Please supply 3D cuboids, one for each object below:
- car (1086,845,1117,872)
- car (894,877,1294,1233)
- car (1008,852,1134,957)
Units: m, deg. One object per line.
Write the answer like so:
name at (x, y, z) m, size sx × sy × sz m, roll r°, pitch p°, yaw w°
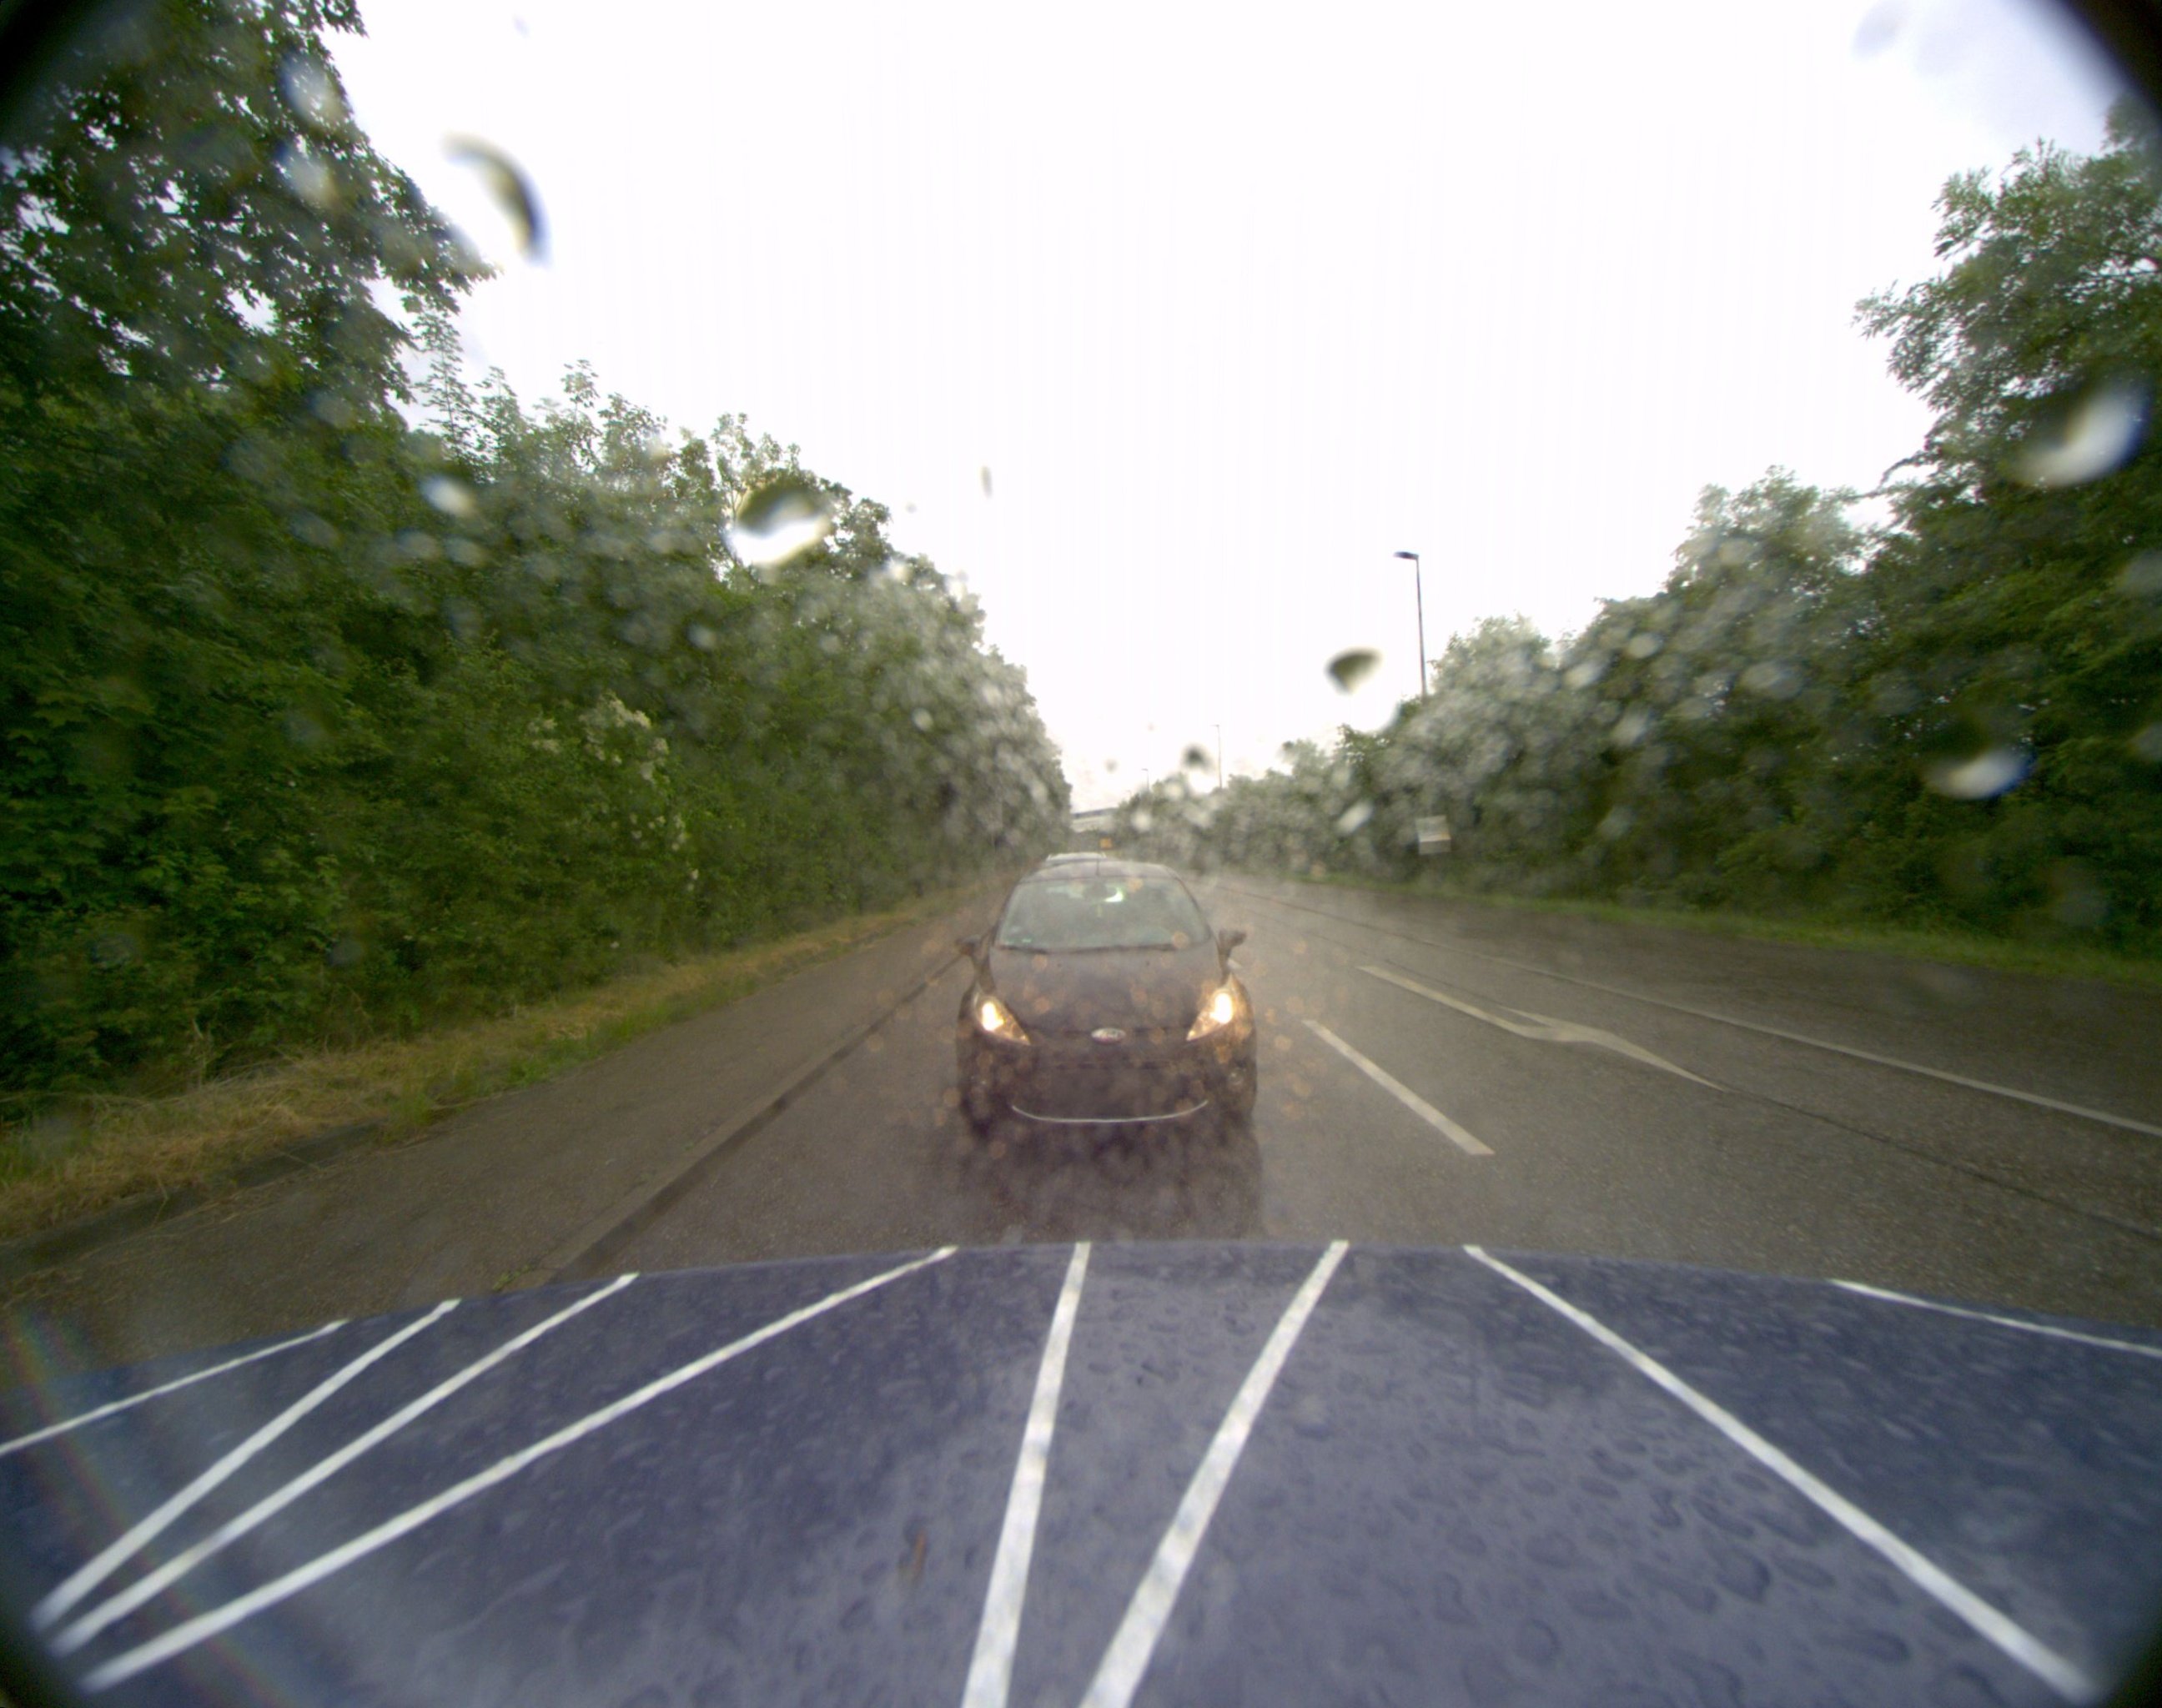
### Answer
car at (1.409, 0.328, 53.554) m, size 1.998 × 1.777 × 4.000 m, roll -2°, pitch 0°, yaw 0°
car at (0.090, 1.023, 5.755) m, size 1.839 × 1.404 × 4.342 m, roll -2°, pitch 1°, yaw 1°
car at (-0.142, 0.818, 14.399) m, size 1.998 × 1.576 × 3.999 m, roll -2°, pitch 1°, yaw 1°
